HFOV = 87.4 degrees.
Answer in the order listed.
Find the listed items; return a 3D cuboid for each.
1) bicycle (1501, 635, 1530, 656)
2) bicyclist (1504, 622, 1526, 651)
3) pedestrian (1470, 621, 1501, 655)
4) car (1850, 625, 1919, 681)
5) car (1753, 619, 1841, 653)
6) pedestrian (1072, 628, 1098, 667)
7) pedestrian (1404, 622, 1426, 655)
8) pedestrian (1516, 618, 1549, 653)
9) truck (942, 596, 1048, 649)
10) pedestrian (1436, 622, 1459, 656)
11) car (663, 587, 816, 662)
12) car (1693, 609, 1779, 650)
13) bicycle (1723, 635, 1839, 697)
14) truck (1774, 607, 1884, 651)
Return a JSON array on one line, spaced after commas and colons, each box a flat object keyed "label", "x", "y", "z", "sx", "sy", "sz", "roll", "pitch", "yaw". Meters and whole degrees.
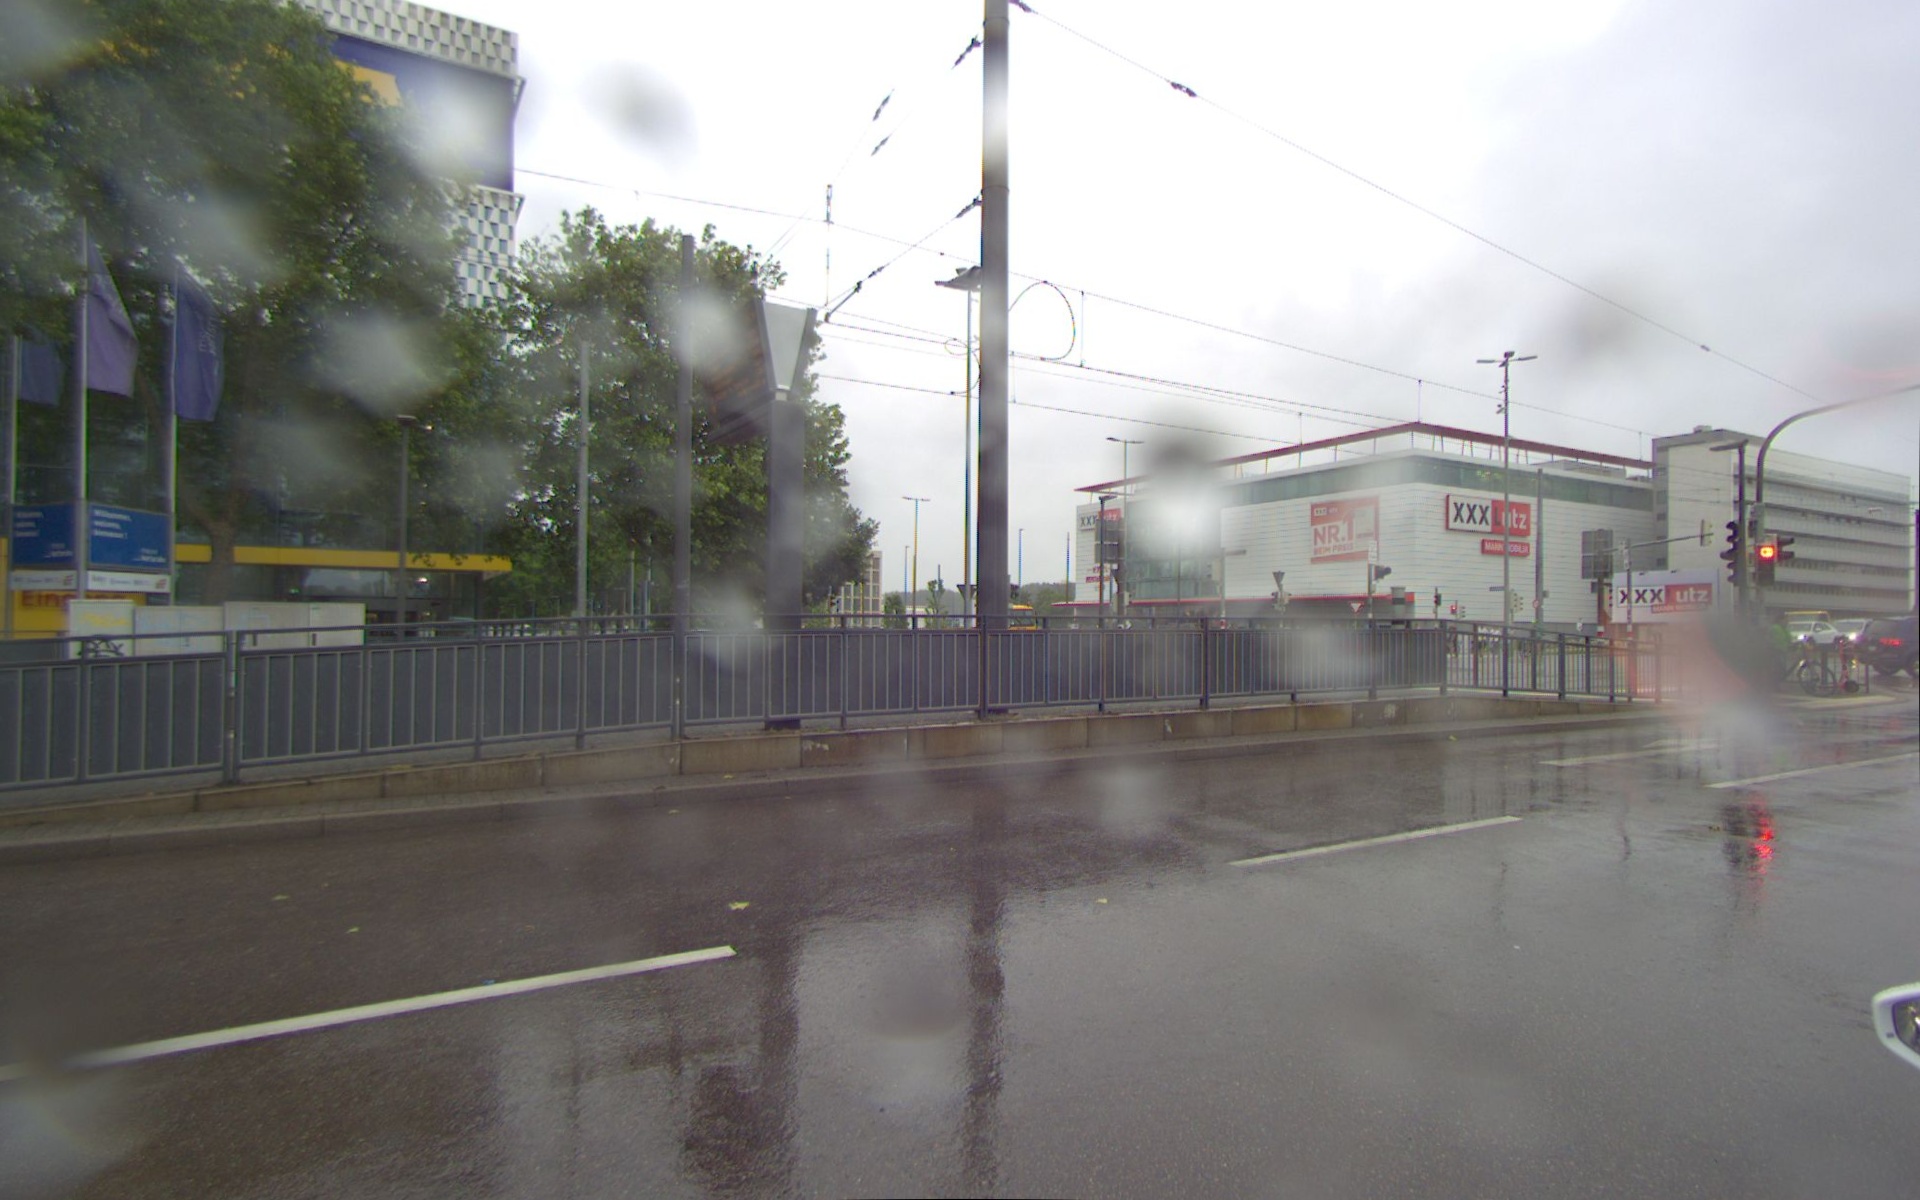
[{"label": "bicycle", "x": 28.370, "y": 2.326, "z": 51.295, "sx": 1.688, "sy": 1.000, "sz": 0.448, "roll": 2, "pitch": 0, "yaw": -30}, {"label": "bicyclist", "x": 28.322, "y": 1.855, "z": 51.259, "sx": 0.639, "sy": 1.483, "sz": 0.681, "roll": 2, "pitch": 0, "yaw": -29}, {"label": "pedestrian", "x": 26.863, "y": 1.933, "z": 51.328, "sx": 1.063, "sy": 1.654, "sz": 1.027, "roll": 2, "pitch": 0, "yaw": 6}, {"label": "car", "x": 26.657, "y": 1.470, "z": 26.993, "sx": 3.793, "sy": 1.441, "sz": 1.509, "roll": 2, "pitch": 0, "yaw": 25}, {"label": "car", "x": 39.720, "y": 1.696, "z": 47.662, "sx": 3.823, "sy": 1.512, "sz": 1.693, "roll": 2, "pitch": 0, "yaw": -25}, {"label": "pedestrian", "x": 5.095, "y": 1.917, "z": 40.917, "sx": 0.863, "sy": 1.557, "sz": 0.560, "roll": 2, "pitch": 0, "yaw": -31}, {"label": "pedestrian", "x": 23.199, "y": 1.947, "z": 51.235, "sx": 0.914, "sy": 1.654, "sz": 0.694, "roll": 2, "pitch": 0, "yaw": -42}, {"label": "pedestrian", "x": 27.529, "y": 1.714, "z": 48.326, "sx": 0.996, "sy": 1.654, "sz": 0.917, "roll": 2, "pitch": 0, "yaw": -19}, {"label": "truck", "x": 1.875, "y": 1.223, "z": 57.886, "sx": 2.612, "sy": 2.853, "sz": 7.084, "roll": 2, "pitch": 0, "yaw": -31}, {"label": "pedestrian", "x": 24.294, "y": 1.948, "z": 50.078, "sx": 0.914, "sy": 1.654, "sz": 0.694, "roll": 2, "pitch": 0, "yaw": -42}, {"label": "car", "x": -6.493, "y": 0.723, "z": 29.792, "sx": 3.971, "sy": 2.040, "sz": 1.975, "roll": 2, "pitch": 0, "yaw": -42}, {"label": "car", "x": 40.396, "y": 1.534, "z": 52.290, "sx": 3.947, "sy": 2.040, "sz": 1.987, "roll": 2, "pitch": 0, "yaw": -26}, {"label": "bicycle", "x": 16.709, "y": 1.323, "z": 20.497, "sx": 0.409, "sy": 1.048, "sz": 1.742, "roll": 2, "pitch": 3, "yaw": -31}, {"label": "truck", "x": 49.630, "y": 1.660, "z": 57.329, "sx": 7.542, "sy": 2.309, "sz": 2.341, "roll": 2, "pitch": 0, "yaw": -30}]
